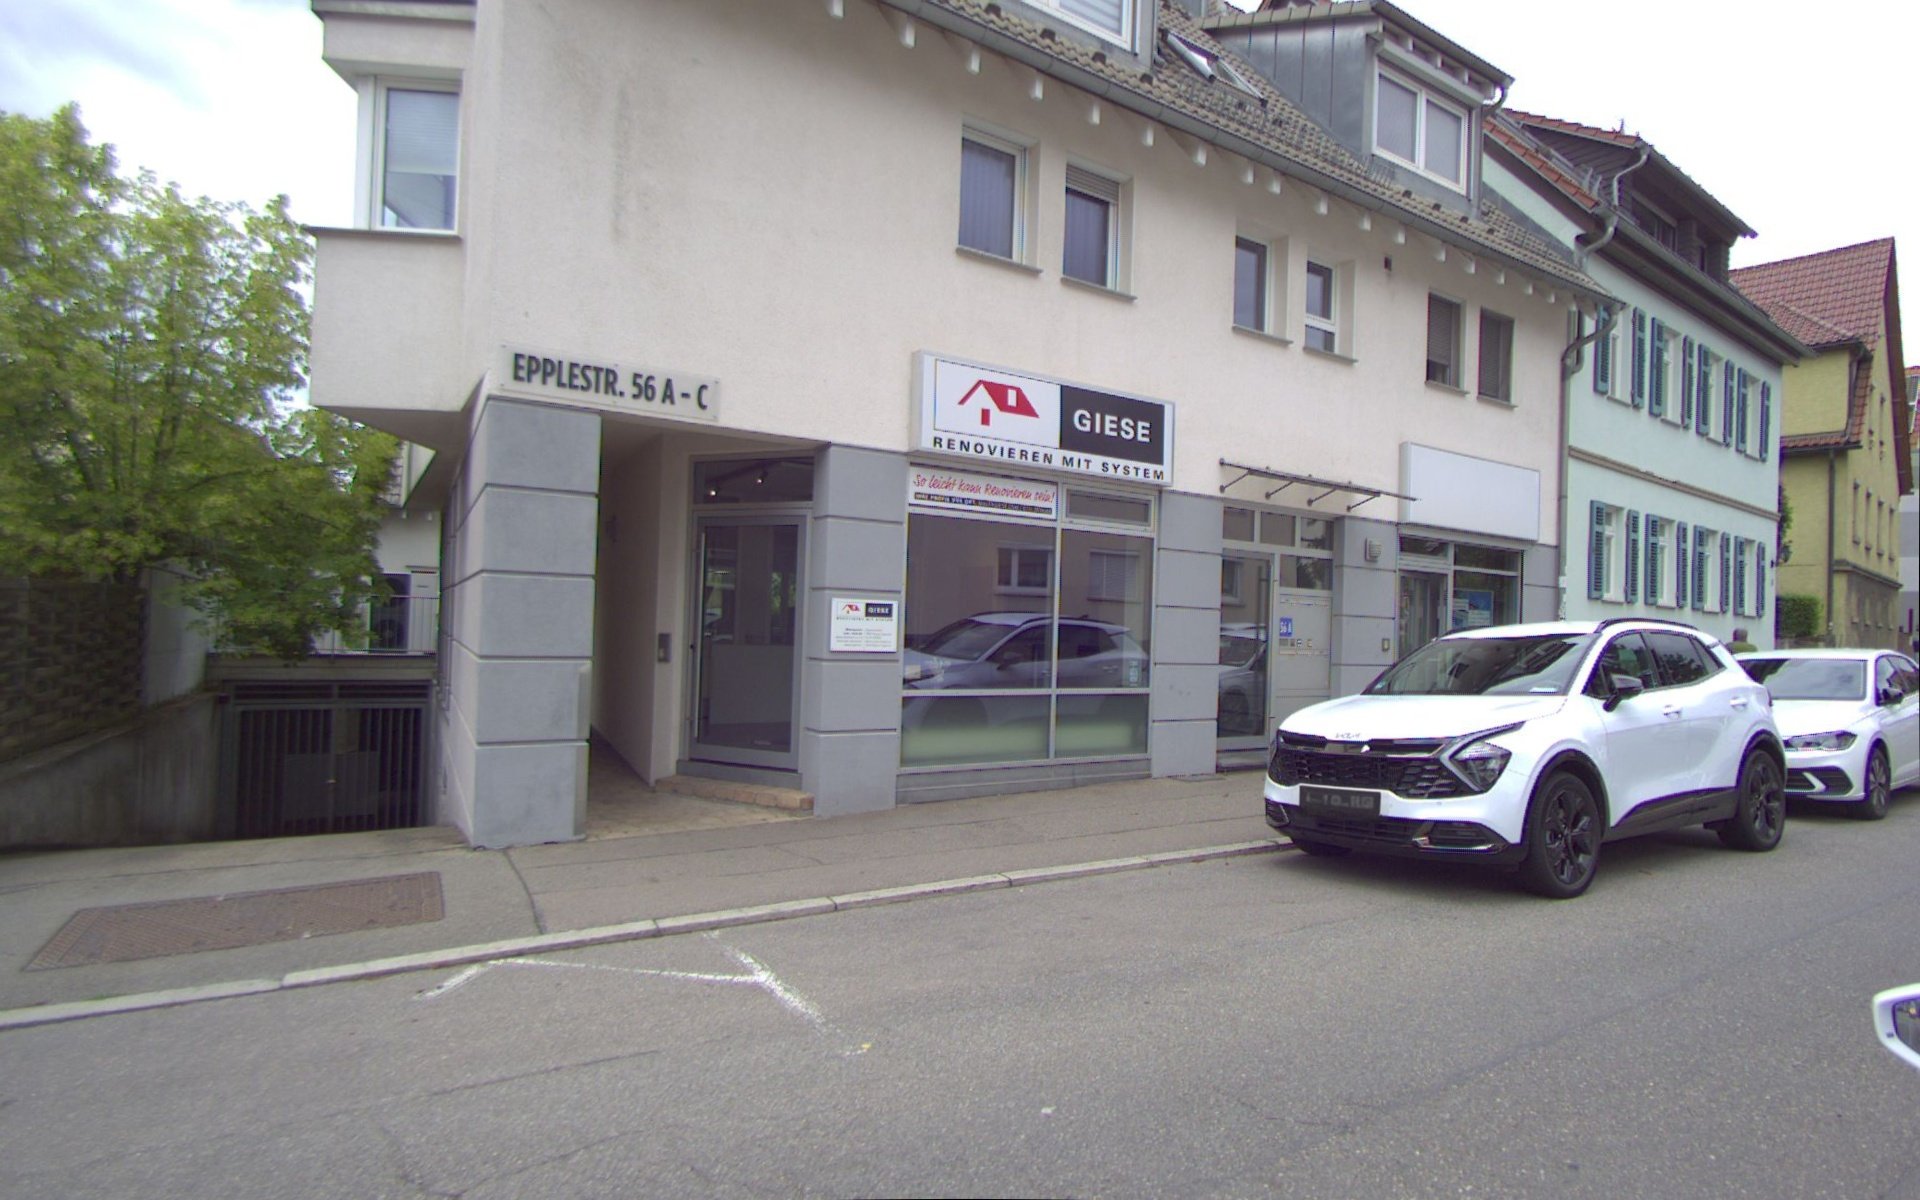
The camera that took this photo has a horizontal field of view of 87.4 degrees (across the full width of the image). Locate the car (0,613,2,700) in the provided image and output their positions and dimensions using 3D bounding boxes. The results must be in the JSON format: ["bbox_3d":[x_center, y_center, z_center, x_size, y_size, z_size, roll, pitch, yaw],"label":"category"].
[{"bbox_3d":[-10.221,0.847,8.470,1.717,1.494,3.978,1,-1,-22],"label":"car"}]

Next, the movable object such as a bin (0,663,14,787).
[{"bbox_3d":[-8.375,1.054,8.202,0.785,1.031,0.663,0,-1,-28],"label":"movable object such as a bin"}]

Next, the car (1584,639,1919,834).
[{"bbox_3d":[8.184,1.171,9.975,3.878,1.455,1.985,1,0,-34],"label":"car"}]

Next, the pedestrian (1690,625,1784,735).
[{"bbox_3d":[11.508,1.165,14.881,0.966,1.520,0.801,2,1,-35],"label":"pedestrian"}]

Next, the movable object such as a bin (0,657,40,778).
[{"bbox_3d":[-8.742,1.035,8.850,0.785,1.031,0.663,0,-1,-28],"label":"movable object such as a bin"}]

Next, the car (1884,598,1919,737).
[{"bbox_3d":[16.292,0.999,15.544,4.624,2.040,1.981,1,-3,-36],"label":"car"}]

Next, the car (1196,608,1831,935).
[{"bbox_3d":[4.177,0.937,7.330,4.804,1.655,1.987,1,0,-32],"label":"car"}]

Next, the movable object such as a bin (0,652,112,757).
[{"bbox_3d":[-9.604,1.085,10.662,0.785,1.031,0.663,0,-1,-28],"label":"movable object such as a bin"}]
